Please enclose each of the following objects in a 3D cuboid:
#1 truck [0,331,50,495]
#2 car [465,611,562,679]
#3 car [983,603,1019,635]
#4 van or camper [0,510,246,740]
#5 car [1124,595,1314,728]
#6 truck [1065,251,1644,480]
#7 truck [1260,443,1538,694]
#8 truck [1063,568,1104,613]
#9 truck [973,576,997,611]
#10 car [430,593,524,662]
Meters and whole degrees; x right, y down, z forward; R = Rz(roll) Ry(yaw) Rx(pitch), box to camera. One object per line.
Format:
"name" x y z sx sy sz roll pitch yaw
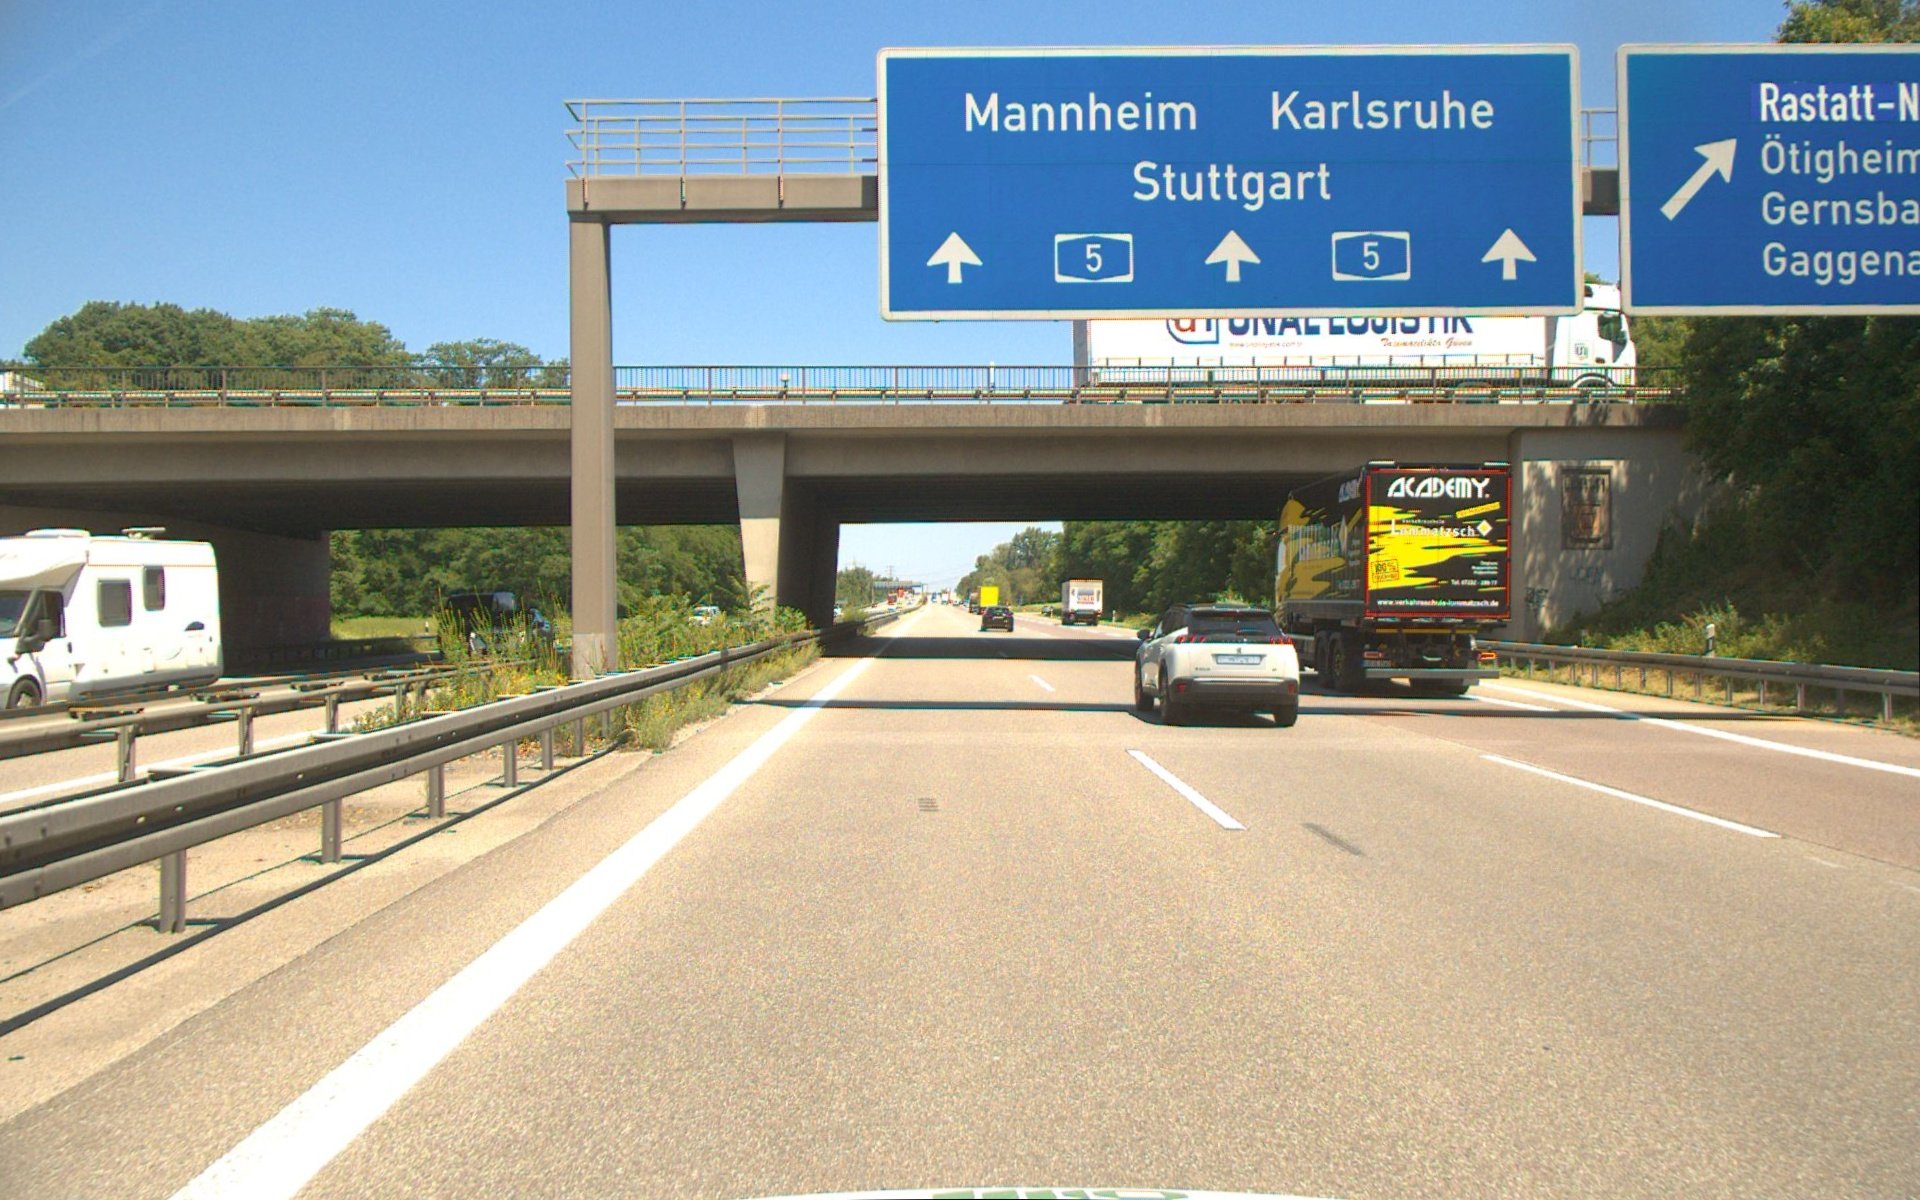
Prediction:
"truck" -42.286 -6.953 59.857 16.153 5.663 3.169 1 -1 -8
"car" -12.835 1.255 47.830 1.656 1.847 4.712 1 0 -2
"car" 2.295 1.065 93.416 1.790 1.736 3.999 1 0 -1
"van or camper" -13.559 0.330 24.888 2.540 2.957 7.232 1 0 -1
"car" 3.453 0.779 22.890 1.790 1.636 4.807 0 0 -1
"truck" 11.281 -6.620 47.857 16.143 5.663 3.171 1 -1 -6
"truck" 8.331 -0.485 33.143 2.913 4.107 10.983 2 0 2
"truck" 9.691 -0.653 130.706 2.965 3.377 10.775 1 0 3
"truck" 3.617 -0.855 246.836 3.308 4.966 15.084 1 0 0
"car" -18.222 1.007 62.695 2.047 2.441 5.731 1 0 -2
